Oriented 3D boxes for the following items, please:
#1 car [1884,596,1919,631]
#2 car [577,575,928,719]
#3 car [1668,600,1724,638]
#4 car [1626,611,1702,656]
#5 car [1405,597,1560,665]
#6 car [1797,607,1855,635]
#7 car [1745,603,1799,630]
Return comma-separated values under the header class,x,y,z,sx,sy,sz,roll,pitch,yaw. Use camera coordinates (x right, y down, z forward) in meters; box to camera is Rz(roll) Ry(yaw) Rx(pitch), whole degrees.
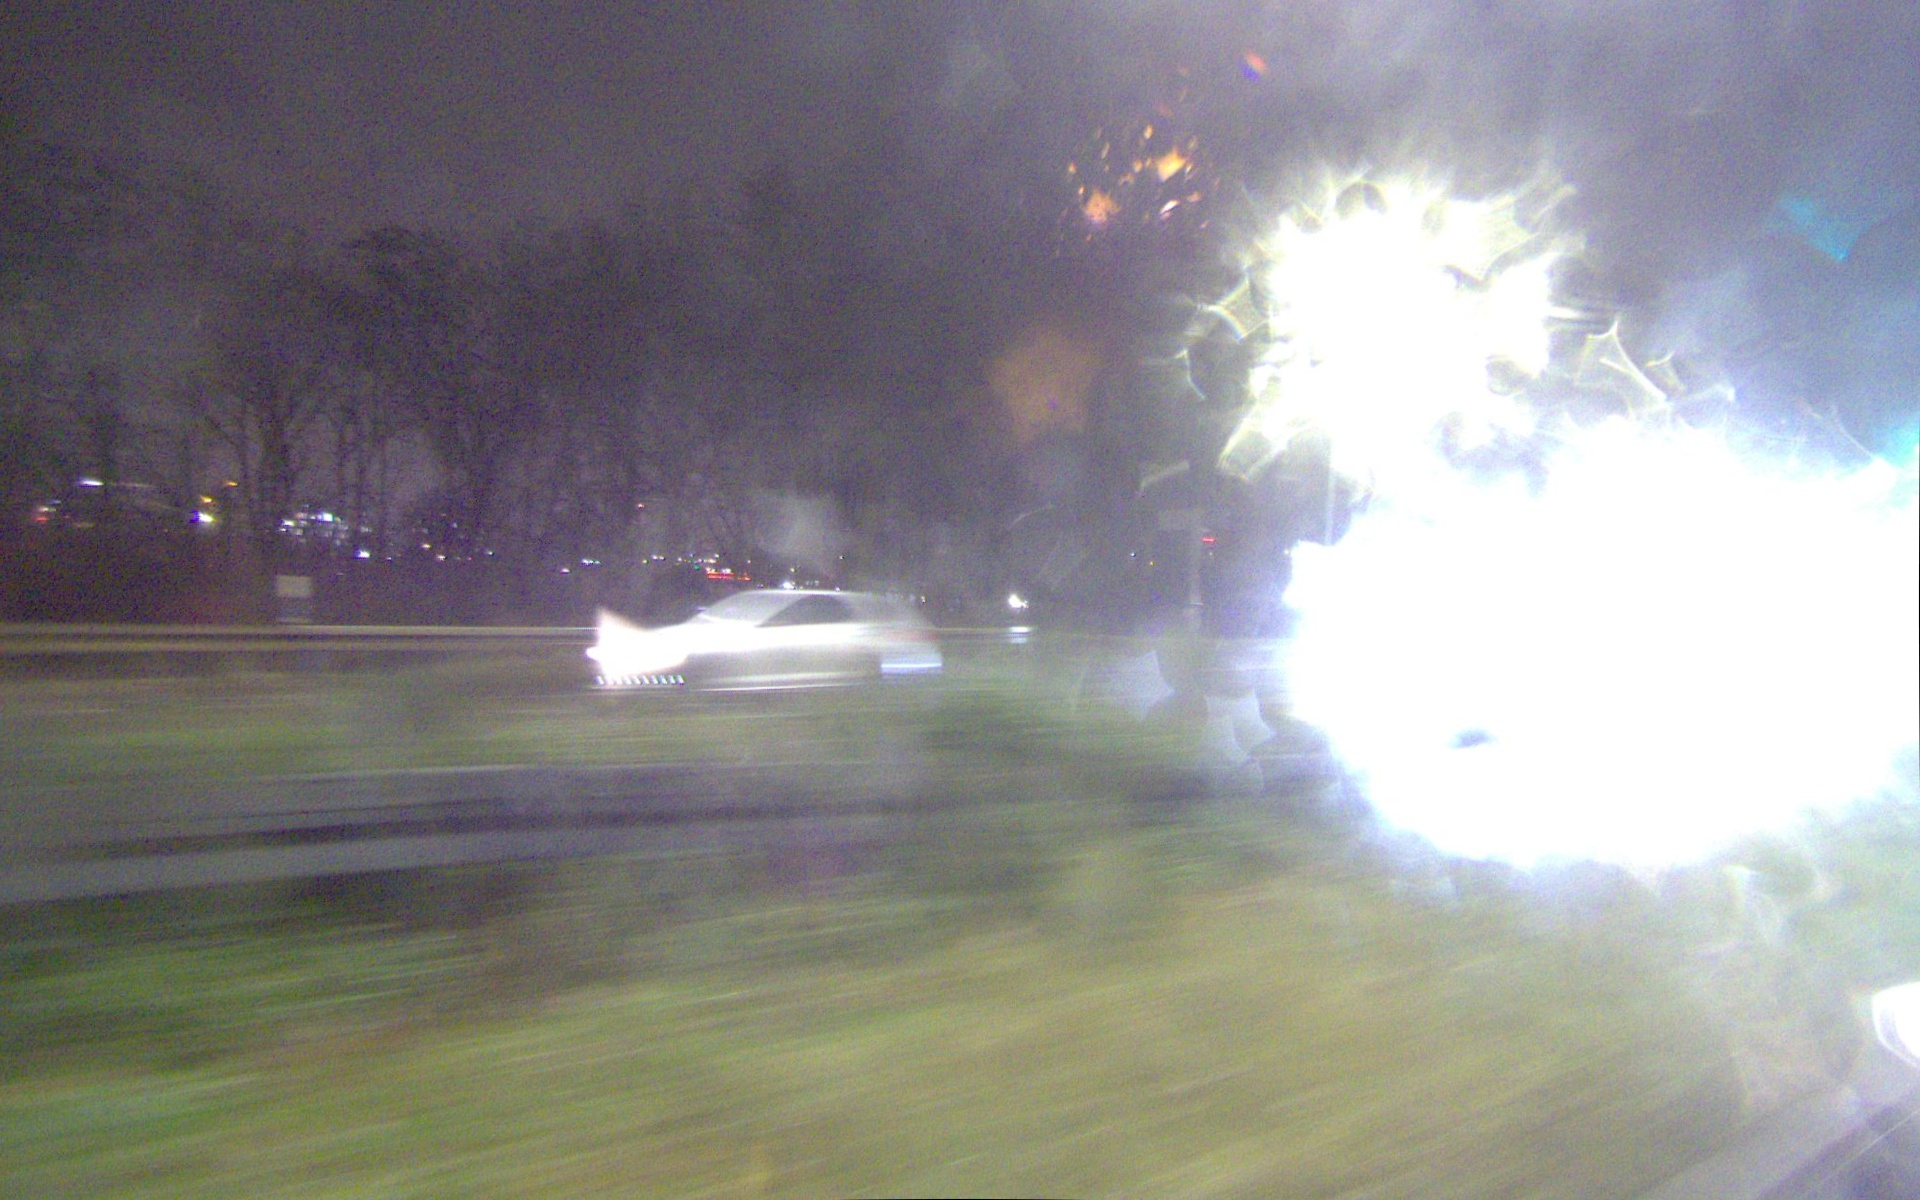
class,x,y,z,sx,sy,sz,roll,pitch,yaw
car,48.204,0.721,50.478,1.790,1.639,3.991,4,1,31
car,-2.487,0.561,12.447,3.903,1.515,1.722,2,-2,-36
car,32.591,0.832,44.447,1.757,1.480,4.459,5,2,38
car,24.961,1.178,35.540,1.769,1.476,4.555,0,-2,41
car,12.508,0.695,23.930,4.541,1.476,1.774,1,-1,-41
car,55.750,1.300,64.755,1.788,1.639,3.996,4,1,26
car,59.694,1.201,73.946,2.056,1.665,3.727,7,3,24
